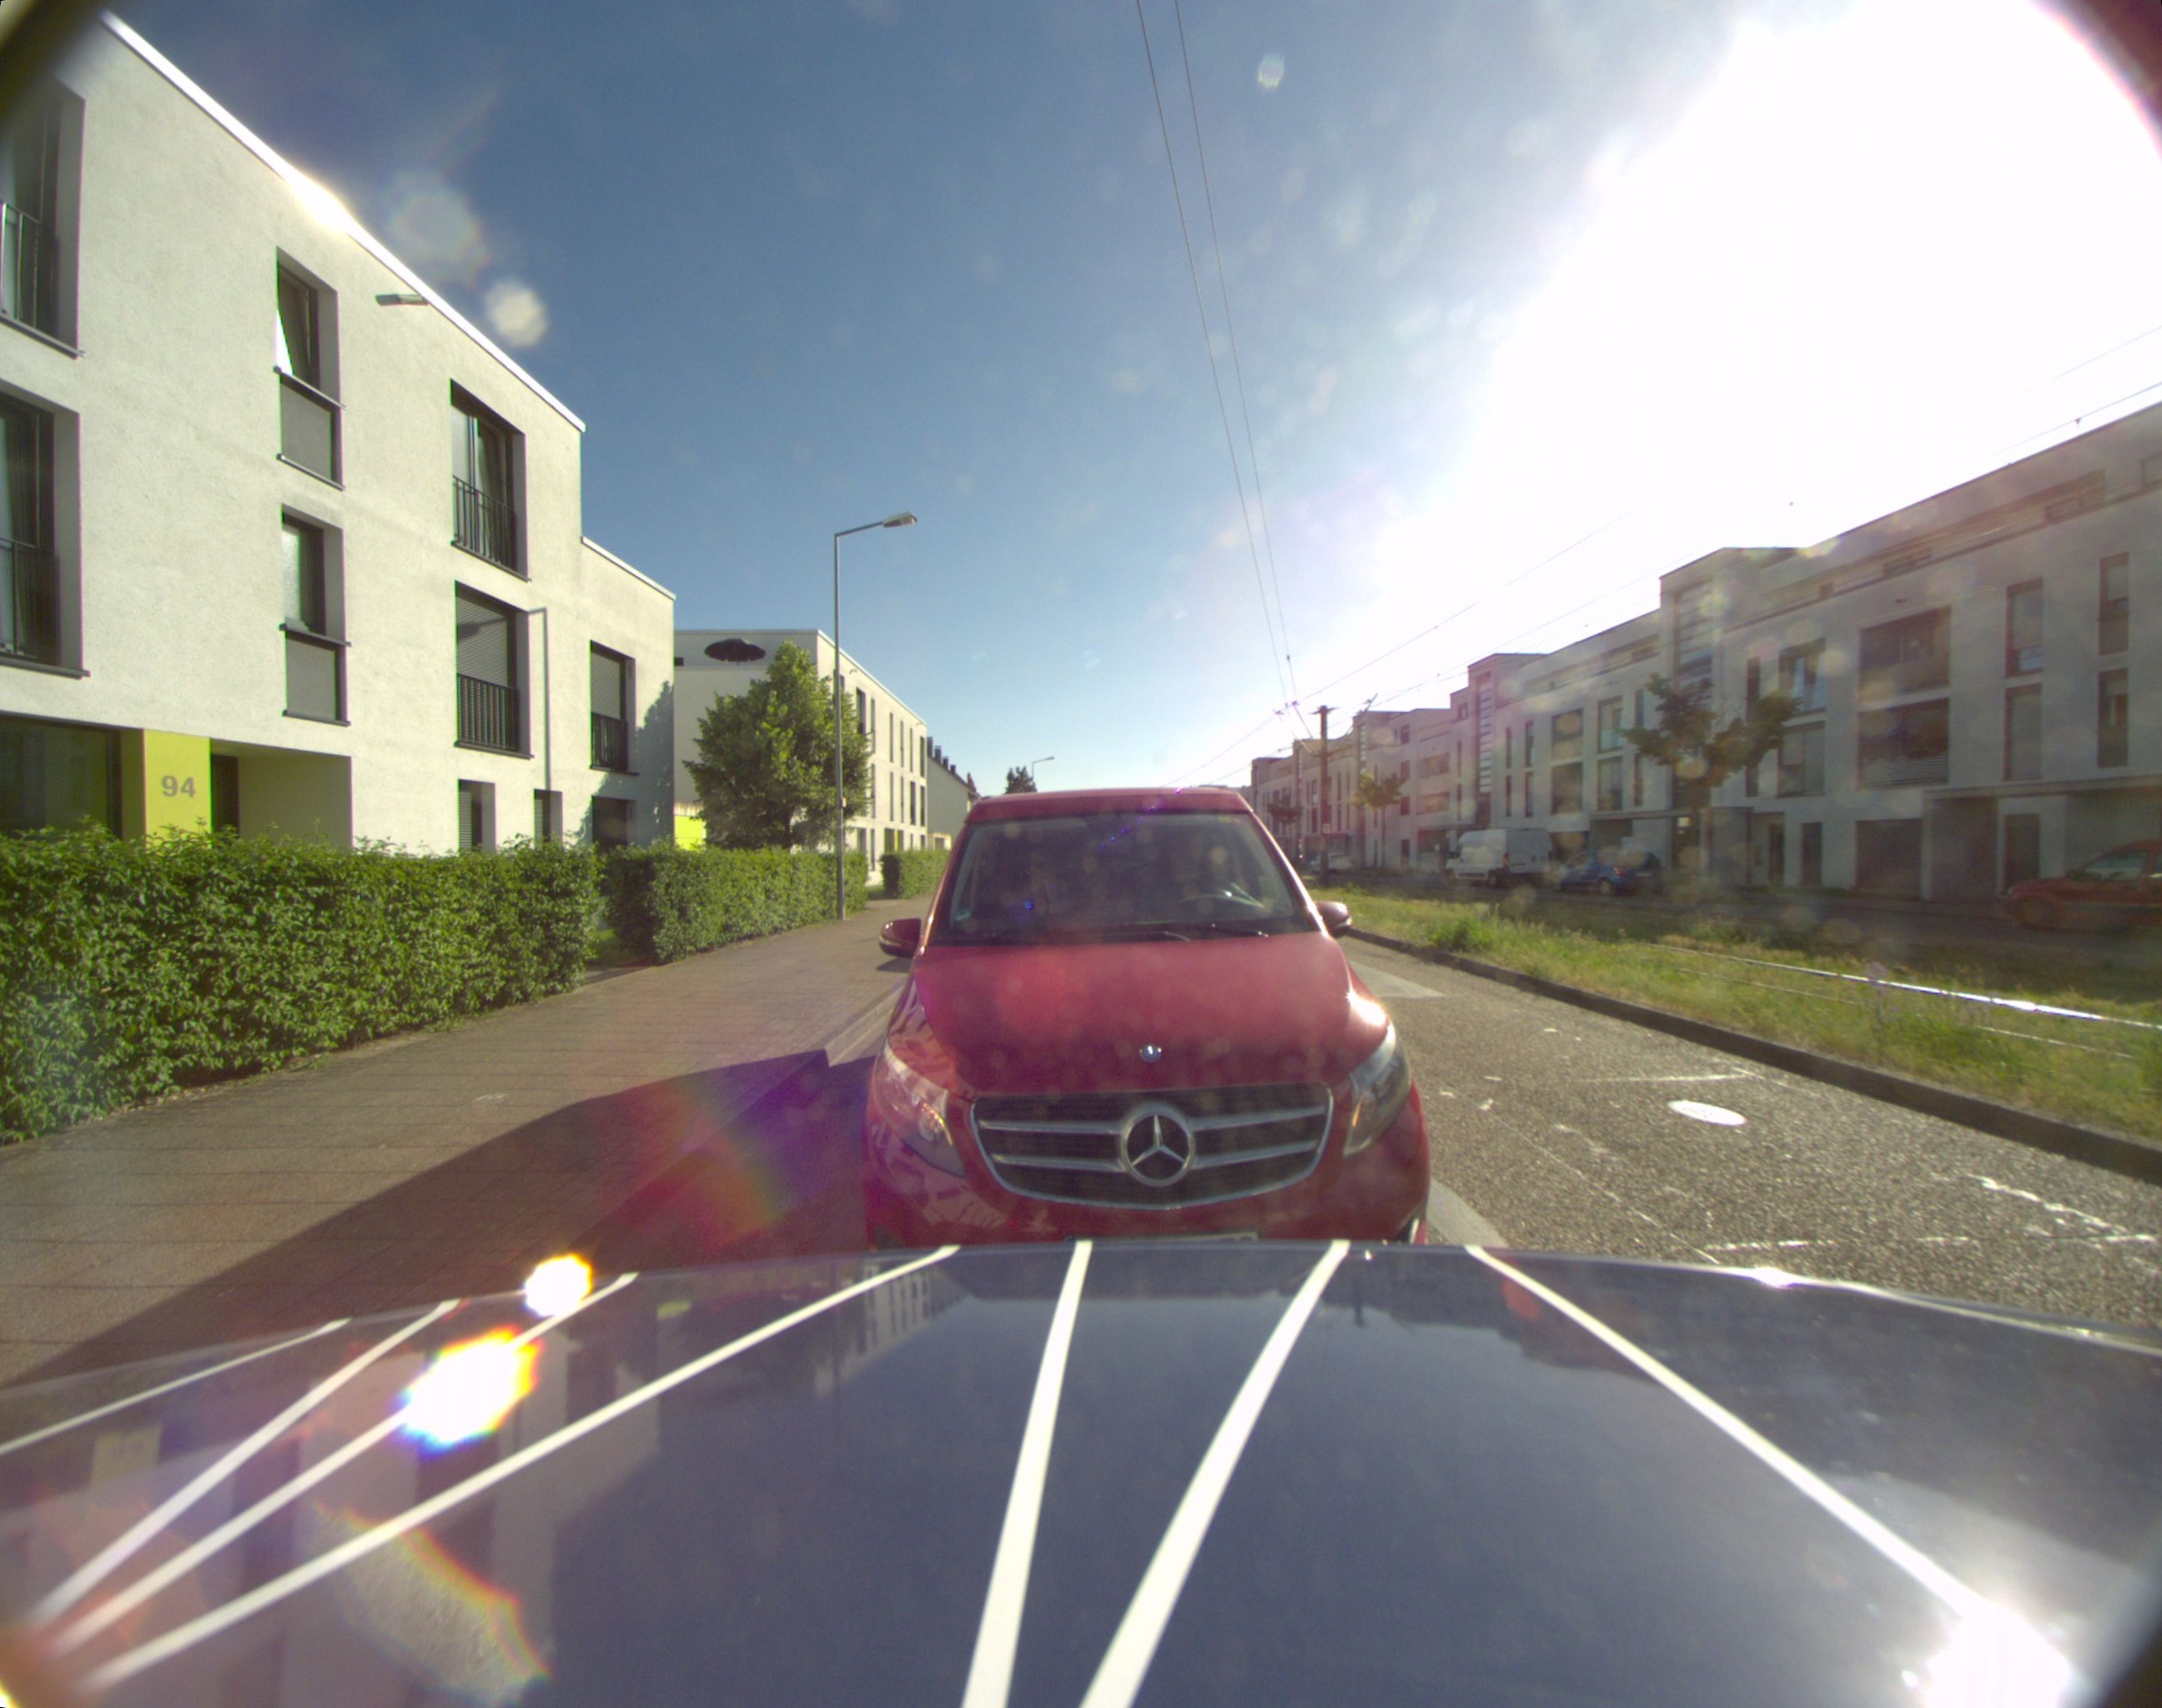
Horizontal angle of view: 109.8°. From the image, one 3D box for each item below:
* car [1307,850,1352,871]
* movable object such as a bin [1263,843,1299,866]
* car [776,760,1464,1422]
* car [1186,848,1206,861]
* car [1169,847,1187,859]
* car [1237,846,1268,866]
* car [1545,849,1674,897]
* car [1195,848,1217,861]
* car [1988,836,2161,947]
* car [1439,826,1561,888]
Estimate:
[{"bbox_3d":[17.533,0.452,53.800,1.521,1.424,4.155,-2,0,-4],"label":"car"},{"bbox_3d":[17.603,0.001,67.127,1.766,1.926,4.155,-2,0,-4],"label":"movable object such as a bin"},{"bbox_3d":[0.176,0.711,4.872,1.979,1.922,5.205,-2,0,1],"label":"car"},{"bbox_3d":[15.035,0.070,99.587,1.766,1.590,4.155,-2,0,-4],"label":"car"},{"bbox_3d":[11.878,-0.169,93.407,1.792,1.410,4.000,1,0,1],"label":"car"},{"bbox_3d":[16.747,0.168,74.266,1.766,1.859,4.155,-2,0,-4],"label":"car"},{"bbox_3d":[18.294,0.608,26.534,1.829,1.528,3.842,-2,0,0],"label":"car"},{"bbox_3d":[15.421,0.035,93.952,1.766,1.590,4.155,-2,0,-4],"label":"car"},{"bbox_3d":[18.570,0.602,12.852,1.885,1.785,3.837,-2,0,1],"label":"car"},{"bbox_3d":[18.180,0.096,33.387,2.146,2.430,5.588,-2,0,-1],"label":"car"}]
